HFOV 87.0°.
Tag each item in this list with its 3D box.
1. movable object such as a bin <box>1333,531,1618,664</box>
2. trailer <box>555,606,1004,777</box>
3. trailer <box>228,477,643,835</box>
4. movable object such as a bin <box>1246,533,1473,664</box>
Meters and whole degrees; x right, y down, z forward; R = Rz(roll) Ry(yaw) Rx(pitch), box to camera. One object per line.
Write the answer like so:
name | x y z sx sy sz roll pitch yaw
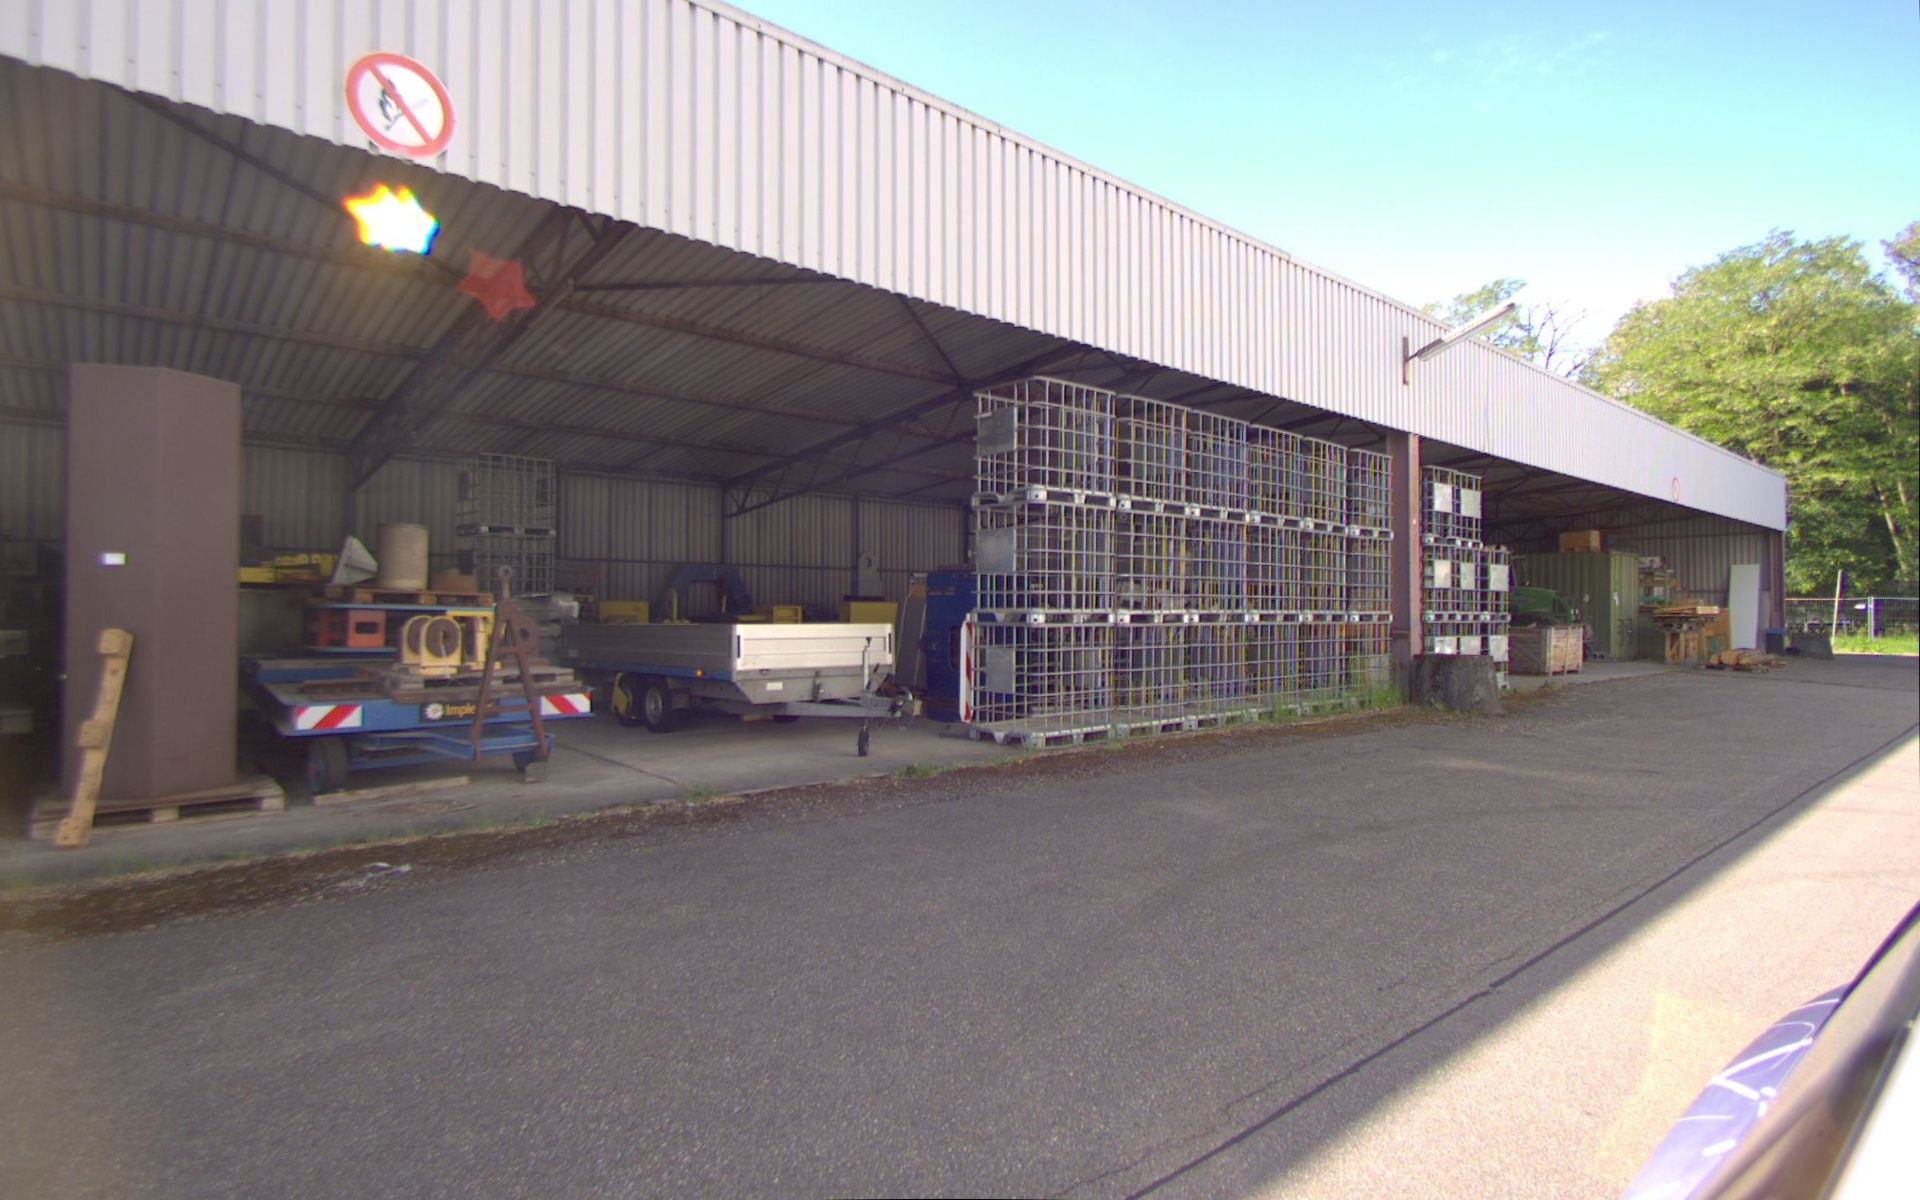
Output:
movable object such as a bin | 12.874 -0.048 25.647 2.770 2.962 5.845 1 -1 -40
trailer | -2.225 0.718 10.585 1.940 1.200 5.737 0 1 -41
trailer | -4.418 0.282 8.106 2.124 2.015 4.433 0 1 -39
movable object such as a bin | 9.589 -0.020 24.552 2.452 2.867 4.535 1 -1 -40
